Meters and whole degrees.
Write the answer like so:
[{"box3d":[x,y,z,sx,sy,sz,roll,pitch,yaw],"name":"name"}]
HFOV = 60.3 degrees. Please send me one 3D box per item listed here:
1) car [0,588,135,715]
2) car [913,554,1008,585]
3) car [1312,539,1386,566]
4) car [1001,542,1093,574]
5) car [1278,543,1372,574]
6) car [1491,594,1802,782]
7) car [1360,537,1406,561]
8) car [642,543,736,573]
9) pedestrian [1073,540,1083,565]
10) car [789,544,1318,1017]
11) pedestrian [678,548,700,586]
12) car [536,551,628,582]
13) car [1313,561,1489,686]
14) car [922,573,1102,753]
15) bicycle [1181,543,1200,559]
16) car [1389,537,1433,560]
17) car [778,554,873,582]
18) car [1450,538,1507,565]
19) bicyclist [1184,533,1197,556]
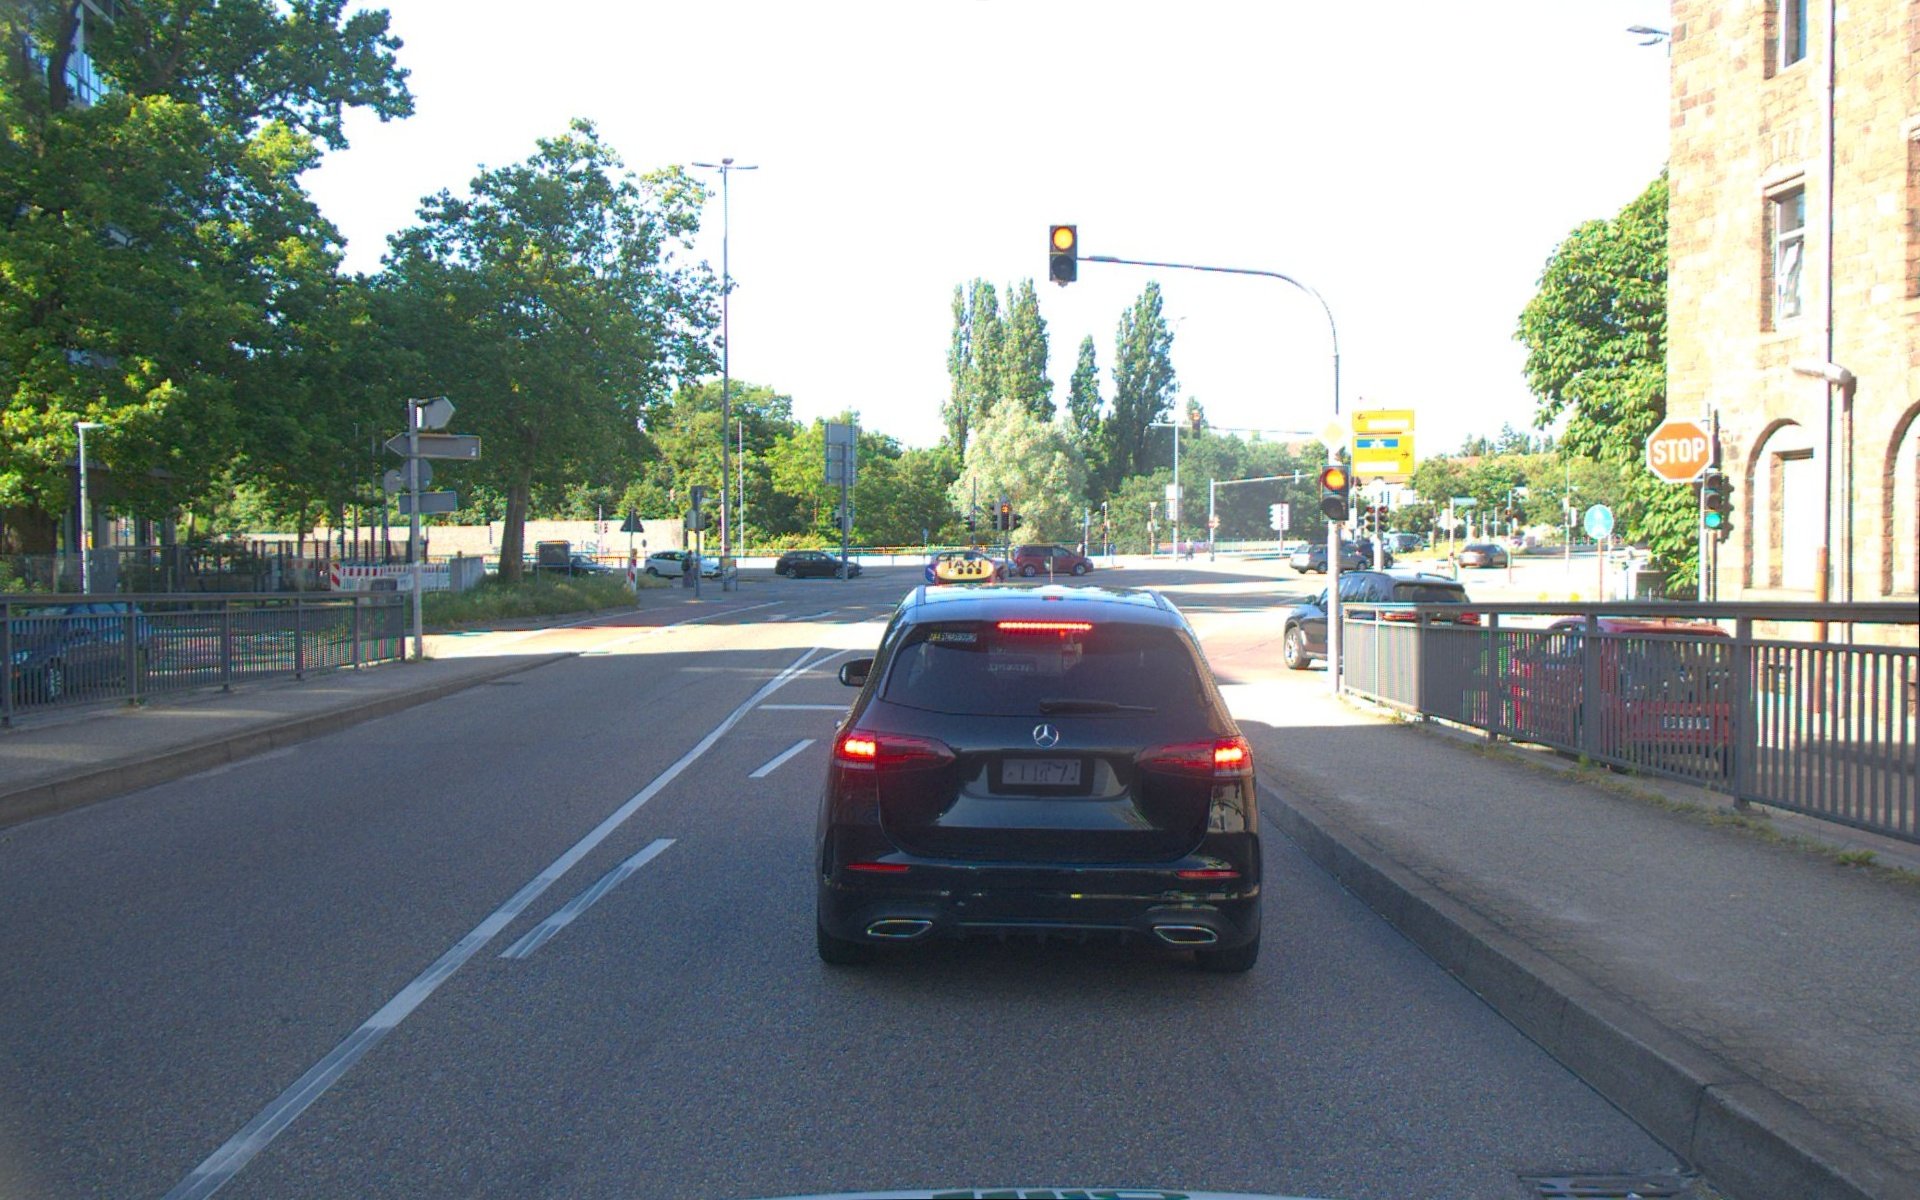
[{"box3d":[-14.765,0.730,25.788,1.814,1.722,4.000,0,2,-1],"name":"car"},{"box3d":[0.036,-1.485,80.083,4.485,1.317,2.001,-1,3,0],"name":"car"},{"box3d":[21.868,-2.688,92.856,4.027,1.381,1.768,-3,3,-32],"name":"car"},{"box3d":[4.468,-2.177,85.477,4.451,1.481,1.997,-2,3,-8],"name":"car"},{"box3d":[19.212,-2.219,86.917,4.756,1.466,1.981,-3,3,-30],"name":"car"},{"box3d":[6.880,0.804,16.978,1.686,1.548,3.486,0,3,-1],"name":"car"},{"box3d":[29.437,-3.542,115.157,1.846,1.605,3.987,1,2,35],"name":"car"},{"box3d":[-13.612,-2.109,83.058,4.213,1.389,2.000,0,3,23],"name":"car"},{"box3d":[7.419,-2.988,103.970,0.443,1.613,0.499,0,2,40],"name":"pedestrian"},{"box3d":[0.303,0.611,7.823,1.839,1.641,4.000,1,1,-1],"name":"car"},{"box3d":[-11.110,-1.361,67.830,0.690,1.552,0.744,1,1,10],"name":"pedestrian"},{"box3d":[-17.637,-1.565,77.140,4.111,1.431,1.743,0,2,32],"name":"car"},{"box3d":[7.216,0.364,27.499,1.686,1.843,4.297,3,0,0],"name":"car"},{"box3d":[0.516,0.540,16.714,1.606,1.556,3.475,-1,2,1],"name":"car"},{"box3d":[15.932,-3.362,114.325,0.516,1.068,1.985,-1,2,32],"name":"bicycle"},{"box3d":[32.839,-3.729,120.365,1.846,1.605,3.987,1,2,35],"name":"car"},{"box3d":[-6.965,-1.655,85.741,4.482,1.317,1.888,-1,3,15],"name":"car"},{"box3d":[29.920,-2.810,95.375,1.959,1.466,4.282,1,3,35],"name":"car"},{"box3d":[15.932,-3.830,114.304,0.516,1.578,0.805,-1,2,32],"name":"bicyclist"}]
